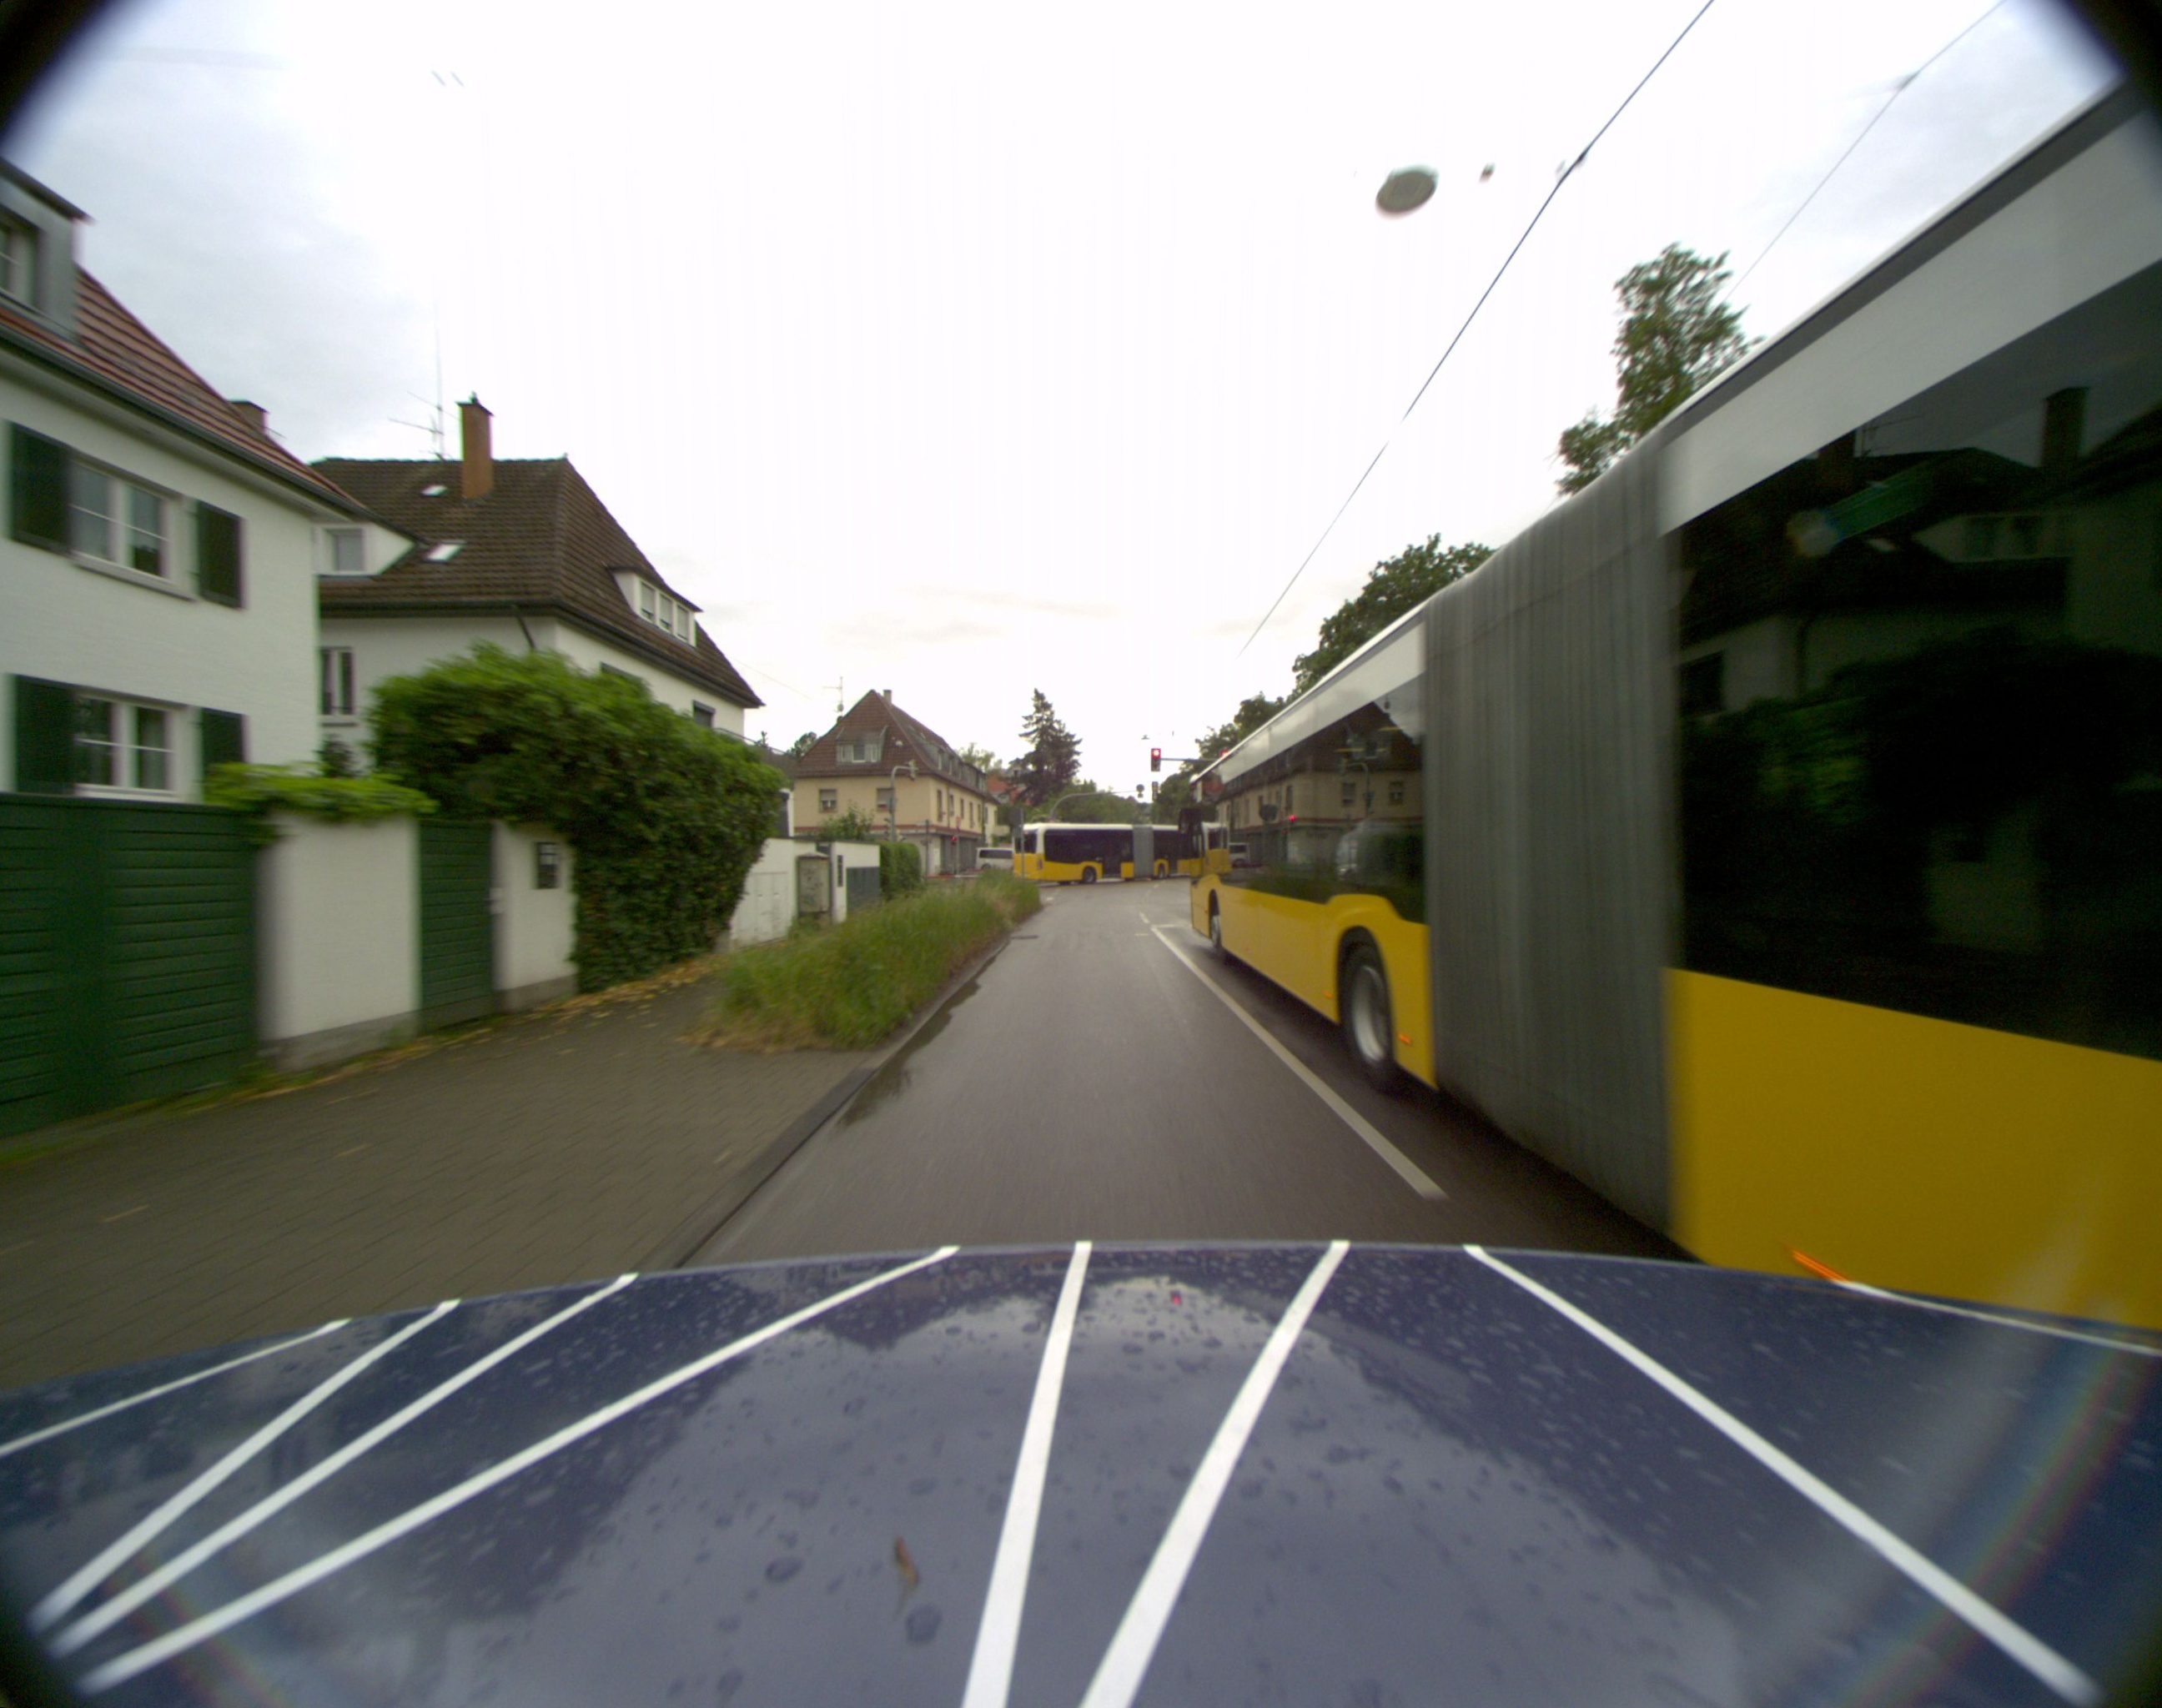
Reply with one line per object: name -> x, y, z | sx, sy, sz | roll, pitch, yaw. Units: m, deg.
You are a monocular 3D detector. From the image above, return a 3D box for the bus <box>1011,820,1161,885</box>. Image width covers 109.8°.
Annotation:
bus -> 0.442, -0.130, 43.190 | 8.696, 3.378, 2.678 | -2, 0, -39

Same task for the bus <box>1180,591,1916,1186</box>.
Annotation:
bus -> 3.055, 0.170, 8.592 | 2.650, 3.027, 9.229 | -2, 0, 1

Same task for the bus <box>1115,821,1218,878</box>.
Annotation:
bus -> 5.881, -0.322, 50.240 | 2.901, 3.378, 9.058 | -2, 0, 33

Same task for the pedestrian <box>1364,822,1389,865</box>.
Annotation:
pedestrian -> 12.359, -0.435, 31.823 | 0.778, 1.789, 0.763 | -1, 1, 3
